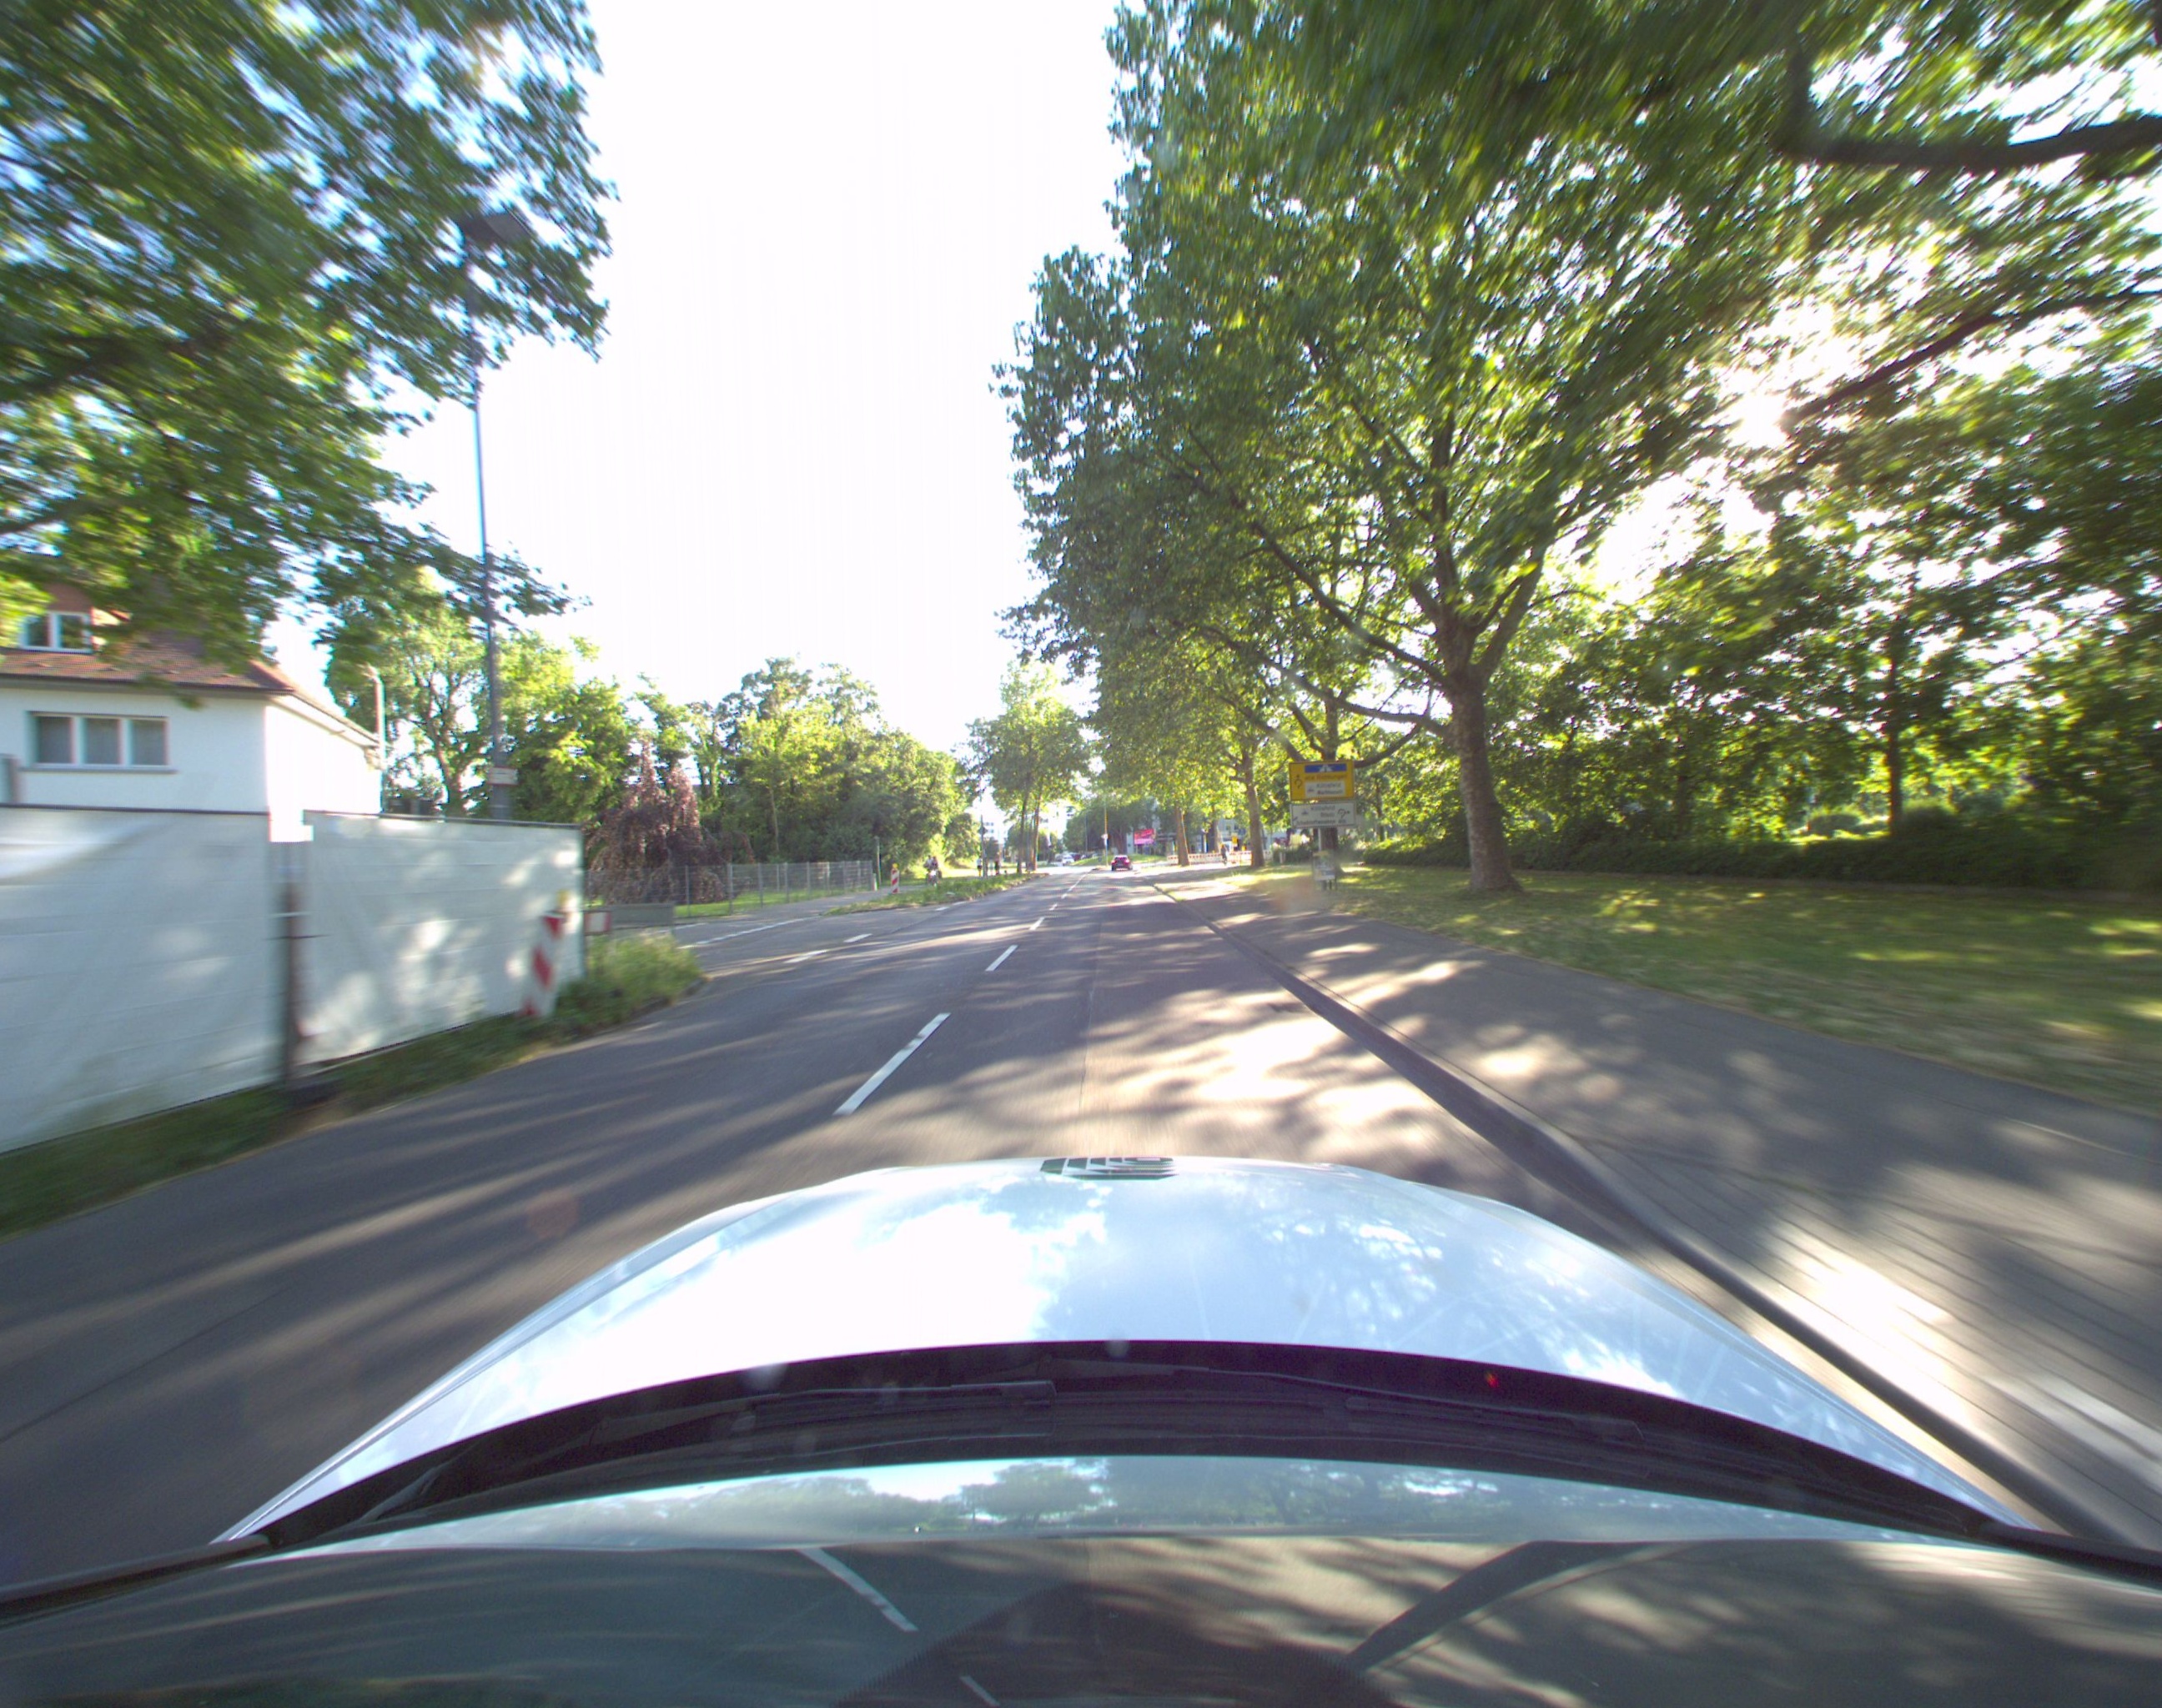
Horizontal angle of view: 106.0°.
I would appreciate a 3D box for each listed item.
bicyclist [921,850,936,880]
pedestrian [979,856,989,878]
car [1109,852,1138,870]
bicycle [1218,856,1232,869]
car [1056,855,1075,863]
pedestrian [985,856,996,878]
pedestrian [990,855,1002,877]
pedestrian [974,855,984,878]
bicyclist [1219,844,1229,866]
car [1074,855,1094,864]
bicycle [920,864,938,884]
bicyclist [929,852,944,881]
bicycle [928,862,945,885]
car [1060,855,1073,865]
[{"bbox_3d":[-9.362,0.671,49.966,0.577,1.831,0.968,-4,-1,1],"label":"bicyclist"},{"bbox_3d":[-7.823,1.029,65.604,0.662,1.739,0.752,-2,-1,3],"label":"pedestrian"},{"bbox_3d":[4.064,0.622,77.406,1.825,1.605,3.879,-2,0,16],"label":"car"},{"bbox_3d":[11.223,0.653,63.472,0.767,0.964,2.175,-4,-1,2],"label":"bicycle"},{"bbox_3d":[-3.497,1.209,184.849,4.010,1.747,1.779,-1,0,-28],"label":"car"},{"bbox_3d":[-7.132,1.025,64.270,0.637,1.638,0.570,-2,-1,-35],"label":"pedestrian"},{"bbox_3d":[-6.867,0.992,65.673,0.745,1.739,0.852,-2,-1,3],"label":"pedestrian"},{"bbox_3d":[-8.045,0.982,64.433,0.630,1.739,0.665,-2,-1,3],"label":"pedestrian"},{"bbox_3d":[11.221,0.103,63.744,0.648,1.705,0.872,-1,0,2],"label":"bicyclist"},{"bbox_3d":[0.592,1.163,174.431,4.010,1.747,1.779,-1,0,-28],"label":"car"},{"bbox_3d":[-9.323,1.211,49.953,0.577,1.186,2.032,-4,0,1],"label":"bicycle"},{"bbox_3d":[-8.529,0.723,48.088,0.577,1.679,0.971,-3,0,1],"label":"bicyclist"},{"bbox_3d":[-8.513,1.152,48.060,0.577,1.245,2.108,-3,0,1],"label":"bicycle"},{"bbox_3d":[-2.349,0.999,130.513,1.989,1.578,3.995,-2,0,-3],"label":"car"}]
